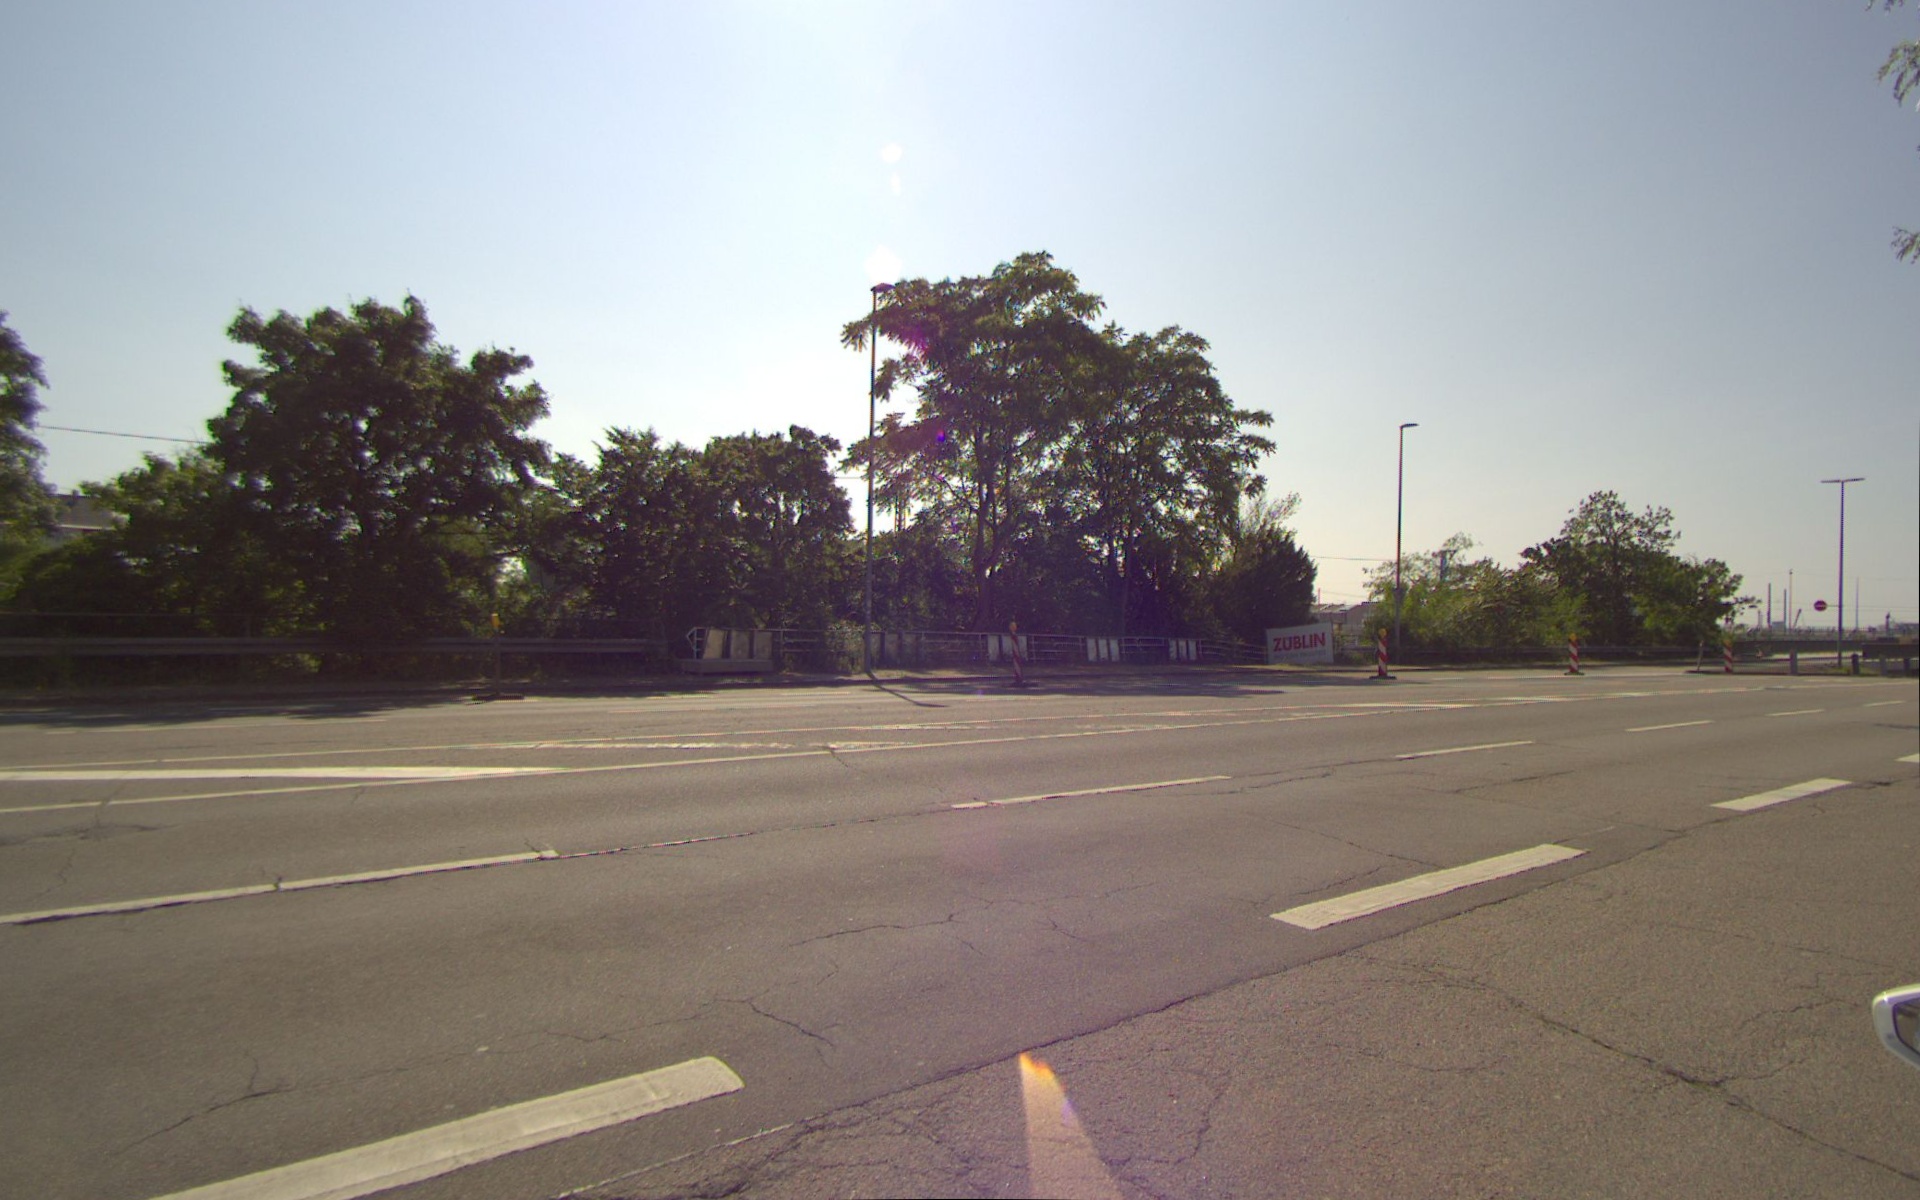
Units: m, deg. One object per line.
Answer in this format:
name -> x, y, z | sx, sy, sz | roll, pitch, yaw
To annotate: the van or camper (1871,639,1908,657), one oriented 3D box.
van or camper -> 78.031, 4.019, 84.315 | 4.587, 1.368, 1.456 | 2, -1, -37
